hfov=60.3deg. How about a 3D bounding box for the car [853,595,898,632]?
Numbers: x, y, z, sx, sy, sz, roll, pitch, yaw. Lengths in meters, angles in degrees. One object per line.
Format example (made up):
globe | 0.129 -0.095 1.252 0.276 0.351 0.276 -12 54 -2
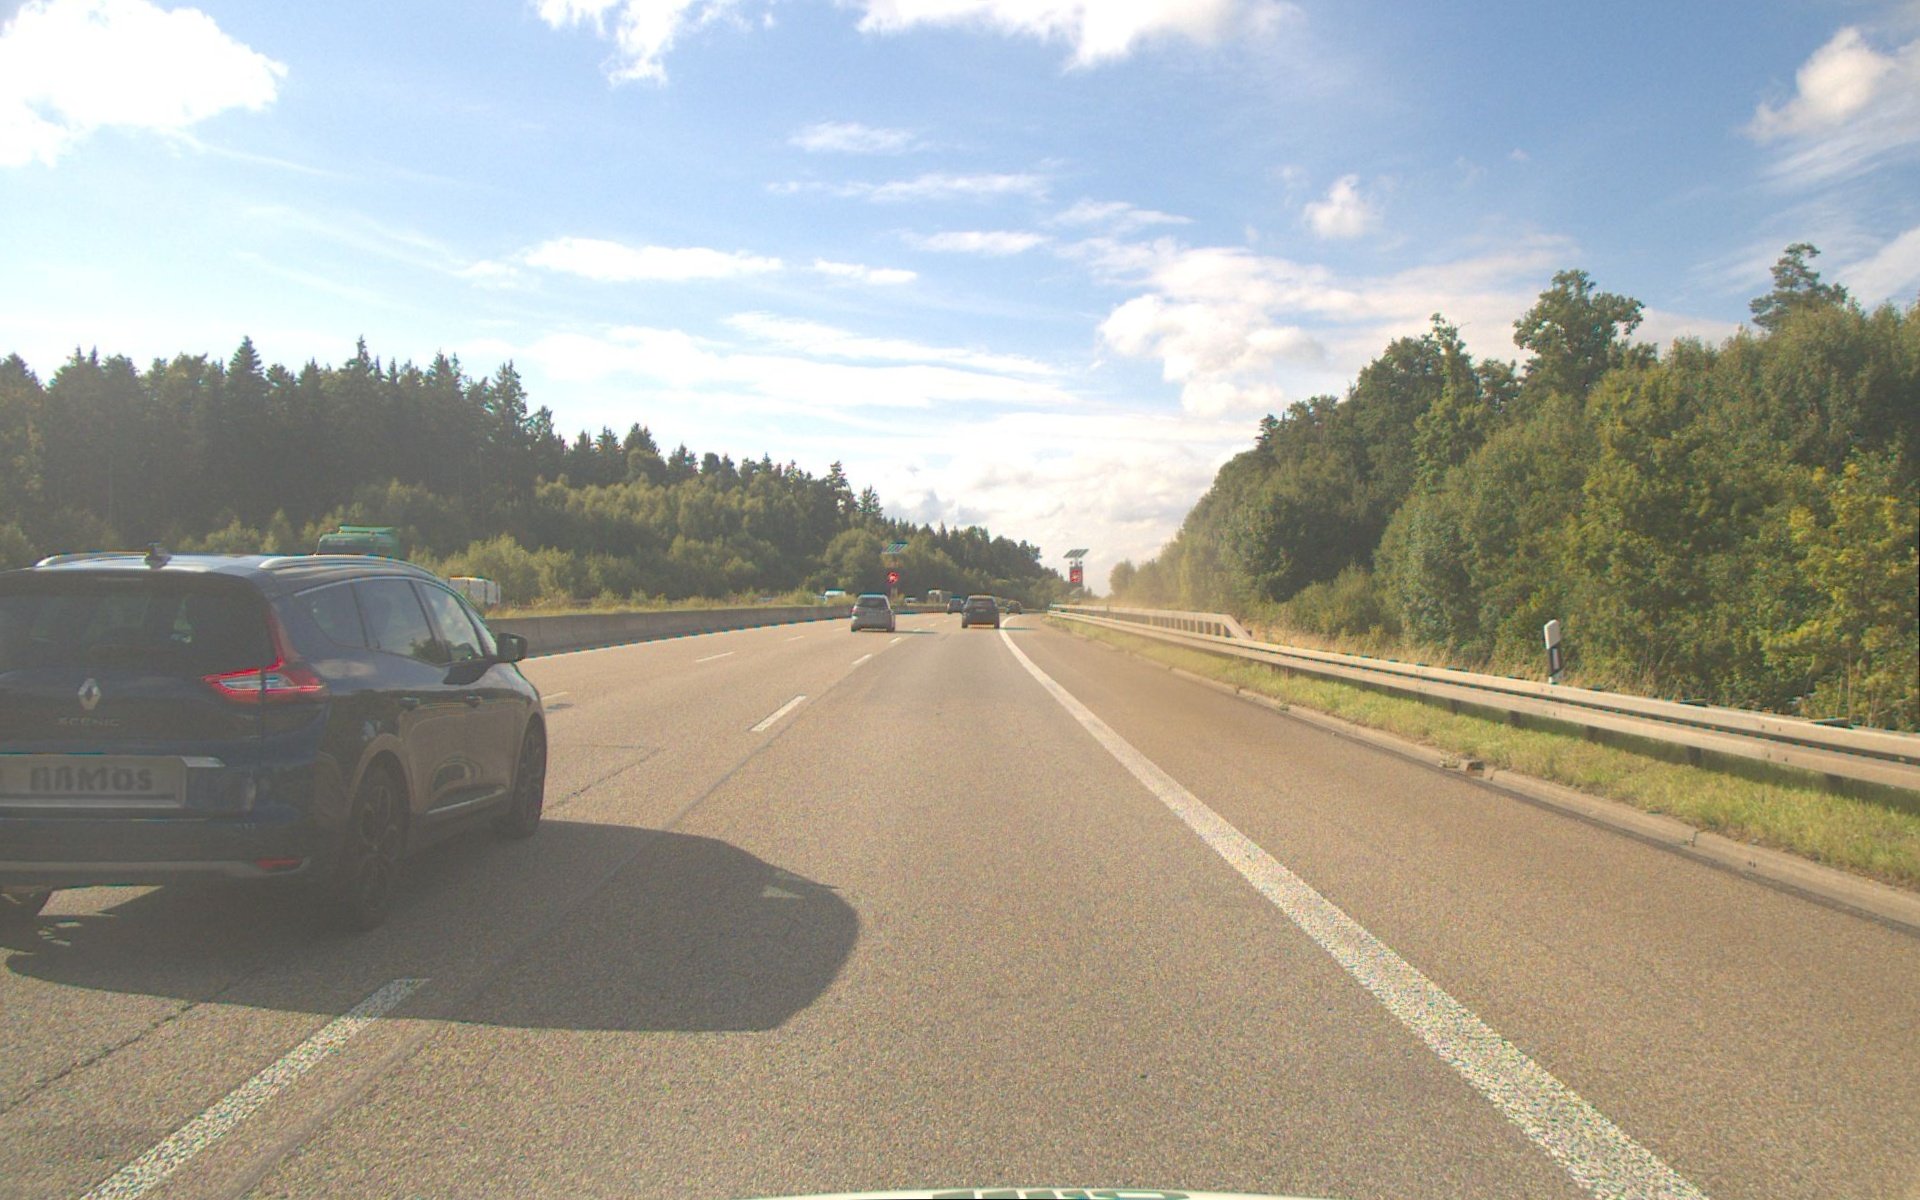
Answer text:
car | -3.608 0.553 71.242 1.836 1.523 3.879 1 1 -2

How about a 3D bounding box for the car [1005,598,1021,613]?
car | 6.413 0.609 199.029 1.774 1.735 4.002 0 0 3

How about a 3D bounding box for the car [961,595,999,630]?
car | 0.990 0.619 83.780 1.835 1.704 3.889 1 1 -1

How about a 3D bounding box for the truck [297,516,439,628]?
truck | -22.744 -1.041 63.896 3.306 4.079 5.863 1 0 0

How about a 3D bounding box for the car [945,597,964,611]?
car | -0.608 0.398 187.426 1.834 1.523 3.882 1 1 3

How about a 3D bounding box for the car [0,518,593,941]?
car | -3.463 0.521 9.071 1.953 1.736 4.528 0 0 -1

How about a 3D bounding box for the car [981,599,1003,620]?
car | 3.195 0.929 166.547 1.953 2.049 3.998 1 0 -2

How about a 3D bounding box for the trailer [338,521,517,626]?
trailer | -22.723 -1.059 71.719 3.306 4.079 13.640 1 0 0
